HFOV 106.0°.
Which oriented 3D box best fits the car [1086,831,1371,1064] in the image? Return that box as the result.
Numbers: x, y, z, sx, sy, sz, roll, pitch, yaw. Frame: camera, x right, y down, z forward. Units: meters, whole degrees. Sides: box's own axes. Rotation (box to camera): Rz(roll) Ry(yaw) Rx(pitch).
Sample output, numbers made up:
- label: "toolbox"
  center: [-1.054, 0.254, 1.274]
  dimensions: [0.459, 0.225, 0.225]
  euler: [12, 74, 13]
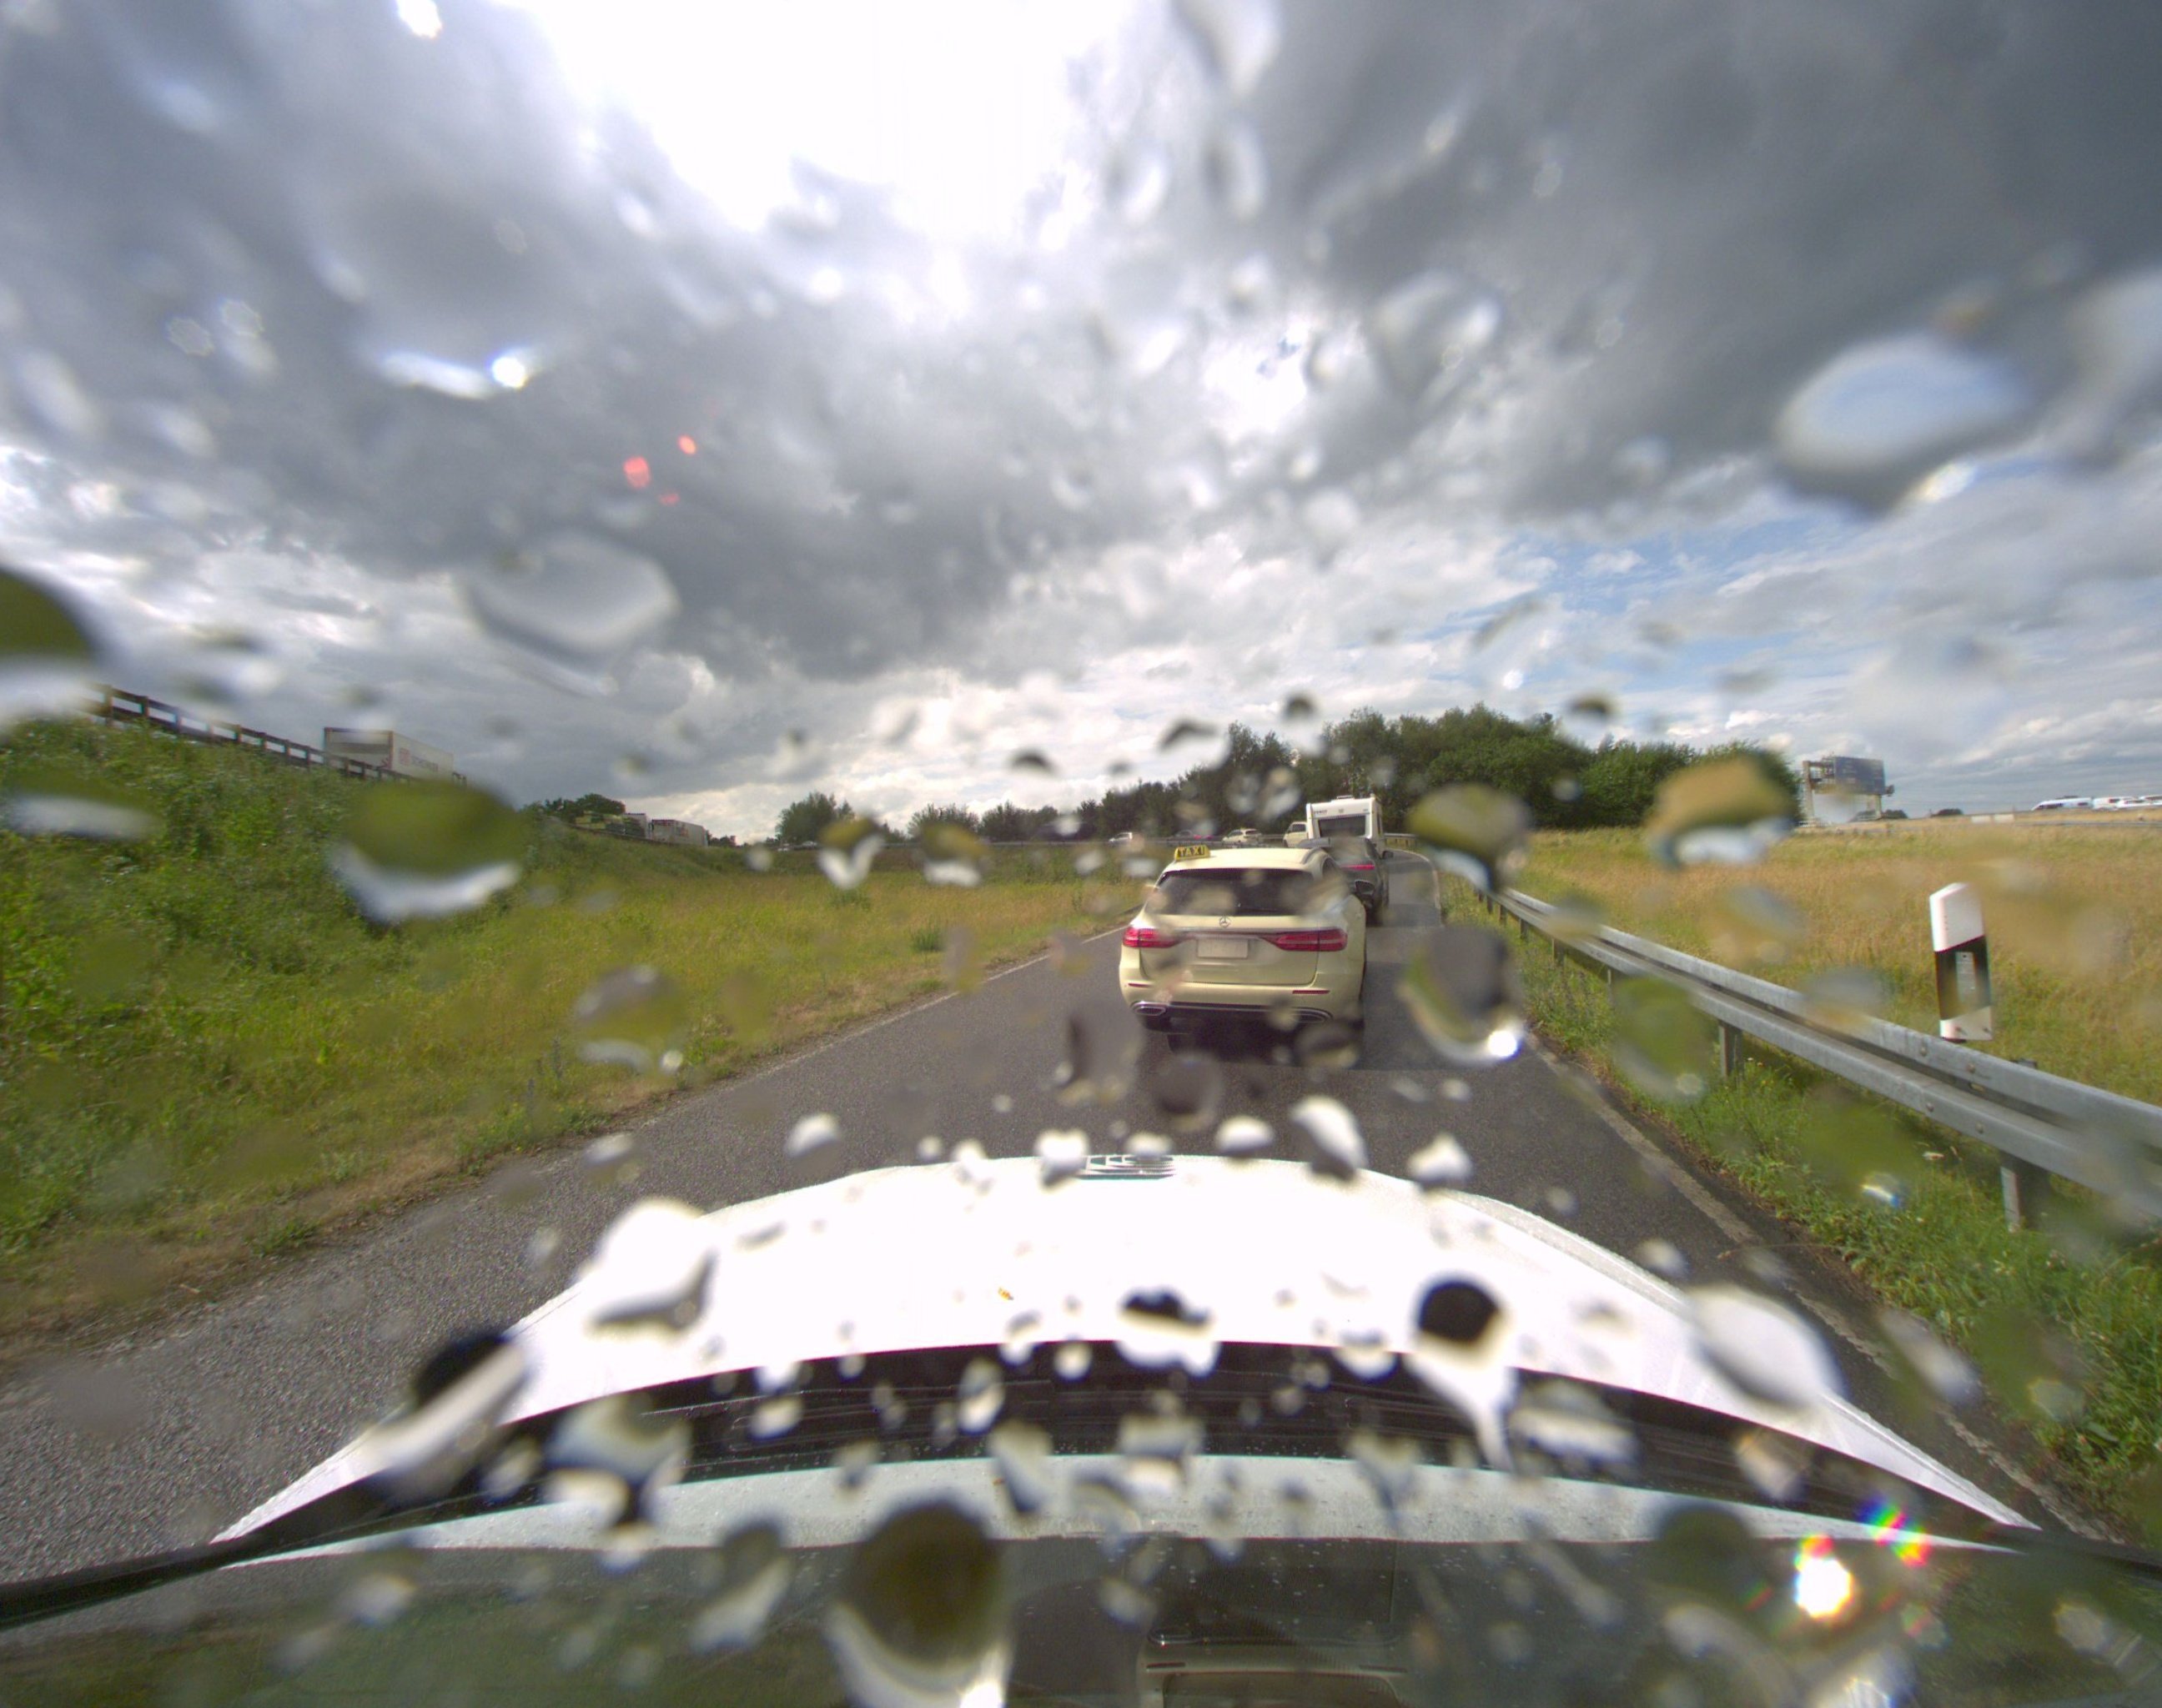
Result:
- label: "car"
  center: [1.733, 0.575, 7.756]
  dimensions: [1.900, 1.507, 4.619]
  euler: [-1, 1, 20]

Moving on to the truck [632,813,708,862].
- label: "truck"
  center: [-50.731, -1.797, 101.460]
  dimensions: [4.468, 4.504, 19.273]
  euler: [-1, -3, -15]

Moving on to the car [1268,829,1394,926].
- label: "car"
  center: [4.830, 0.360, 15.370]
  dimensions: [1.702, 1.524, 4.023]
  euler: [-3, 1, 24]

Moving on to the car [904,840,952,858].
- label: "car"
  center: [-17.776, -0.580, 94.811]
  dimensions: [5.000, 1.861, 2.009]
  euler: [-3, -1, 18]

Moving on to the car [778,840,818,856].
- label: "car"
  center: [-37.543, -0.771, 108.167]
  dimensions: [4.994, 1.861, 2.012]
  euler: [-4, -1, 26]

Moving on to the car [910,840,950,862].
- label: "car"
  center: [-17.554, -0.326, 94.568]
  dimensions: [3.949, 2.012, 2.013]
  euler: [-4, 5, 28]

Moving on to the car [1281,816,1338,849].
- label: "car"
  center: [14.783, -1.368, 53.039]
  dimensions: [1.989, 1.861, 5.051]
  euler: [-3, 0, -3]

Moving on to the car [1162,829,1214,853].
- label: "car"
  center: [9.512, -1.148, 72.769]
  dimensions: [2.006, 1.861, 5.009]
  euler: [-3, -1, -29]

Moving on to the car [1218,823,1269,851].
- label: "car"
  center: [12.580, -1.266, 63.245]
  dimensions: [1.995, 1.861, 5.036]
  euler: [-3, 0, -12]

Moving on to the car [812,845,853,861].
- label: "car"
  center: [-31.357, -0.126, 102.901]
  dimensions: [4.468, 1.861, 2.006]
  euler: [-3, -1, 10]

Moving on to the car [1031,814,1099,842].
- label: "car"
  center: [-1.737, -2.775, 86.677]
  dimensions: [6.894, 2.595, 2.894]
  euler: [-2, 1, 40]

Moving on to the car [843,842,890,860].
- label: "car"
  center: [-25.727, -0.349, 97.607]
  dimensions: [5.000, 1.861, 2.009]
  euler: [-3, -1, 18]

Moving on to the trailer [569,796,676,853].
- label: "trailer"
  center: [-45.846, -2.720, 82.693]
  dimensions: [4.421, 3.956, 20.111]
  euler: [-1, -3, -15]

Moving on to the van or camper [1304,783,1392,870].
- label: "van or camper"
  center: [9.719, -0.981, 29.286]
  dimensions: [2.409, 2.729, 6.035]
  euler: [-2, 1, 23]

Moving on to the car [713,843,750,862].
- label: "car"
  center: [-42.279, -0.182, 98.602]
  dimensions: [4.001, 2.014, 1.814]
  euler: [-1, -3, -21]

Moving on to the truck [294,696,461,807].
- label: "truck"
  center: [-34.899, -4.831, 40.979]
  dimensions: [3.191, 3.967, 9.173]
  euler: [-1, -3, -20]

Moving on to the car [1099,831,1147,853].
- label: "car"
  center: [4.119, -1.212, 80.967]
  dimensions: [2.009, 1.861, 5.002]
  euler: [-2, -1, -35]

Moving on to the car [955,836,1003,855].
- label: "car"
  center: [-11.579, -0.910, 92.302]
  dimensions: [4.993, 1.861, 2.012]
  euler: [-4, -1, 27]

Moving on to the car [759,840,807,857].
- label: "car"
  center: [-36.962, -0.671, 101.079]
  dimensions: [5.015, 1.861, 2.003]
  euler: [-3, -1, 6]
